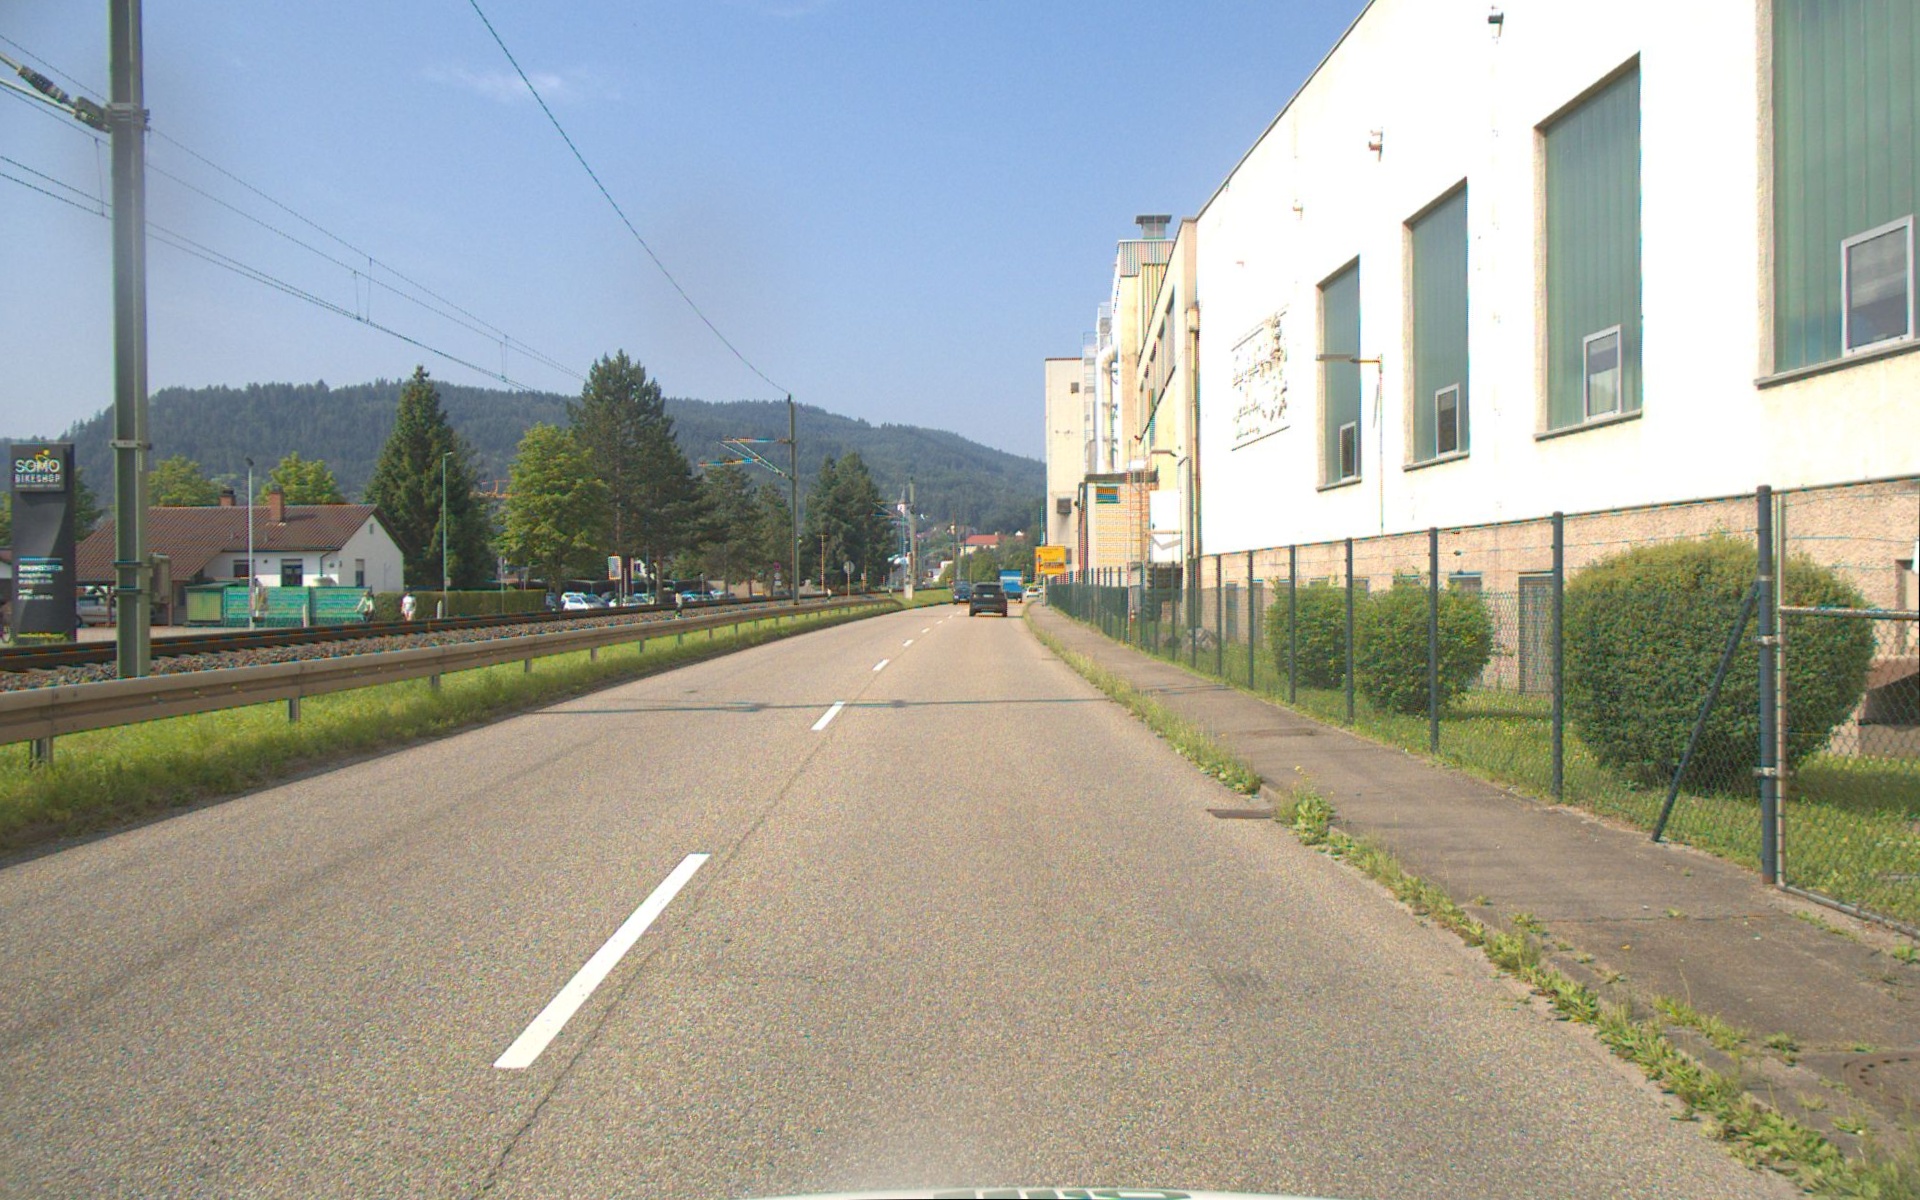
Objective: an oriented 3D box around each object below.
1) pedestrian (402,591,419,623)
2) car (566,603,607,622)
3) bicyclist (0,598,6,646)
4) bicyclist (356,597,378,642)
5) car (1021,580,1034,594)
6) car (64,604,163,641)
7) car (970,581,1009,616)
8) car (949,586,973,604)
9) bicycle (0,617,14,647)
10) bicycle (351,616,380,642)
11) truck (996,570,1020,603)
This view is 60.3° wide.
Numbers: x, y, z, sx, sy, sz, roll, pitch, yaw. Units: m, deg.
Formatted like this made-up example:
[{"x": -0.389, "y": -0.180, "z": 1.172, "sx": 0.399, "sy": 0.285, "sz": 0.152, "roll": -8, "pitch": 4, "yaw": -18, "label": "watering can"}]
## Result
[{"x": -23.827, "y": 0.290, "z": 71.711, "sx": 0.562, "sy": 1.355, "sz": 0.673, "roll": -1, "pitch": 0, "yaw": -6, "label": "pedestrian"}, {"x": -30.592, "y": 1.033, "z": 135.337, "sx": 1.673, "sy": 1.469, "sz": 3.796, "roll": -1, "pitch": 0, "yaw": -40, "label": "car"}, {"x": -33.649, "y": 0.773, "z": 57.101, "sx": 0.730, "sy": 1.648, "sz": 1.146, "roll": -1, "pitch": 0, "yaw": 3, "label": "bicyclist"}, {"x": -22.515, "y": 0.731, "z": 62.794, "sx": 0.522, "sy": 1.675, "sz": 0.831, "roll": -1, "pitch": 0, "yaw": -2, "label": "bicyclist"}, {"x": 9.197, "y": -1.744, "z": 223.978, "sx": 1.632, "sy": 1.854, "sz": 3.753, "roll": 0, "pitch": 0, "yaw": 4, "label": "car"}, {"x": -39.889, "y": 1.051, "z": 77.966, "sx": 3.756, "sy": 1.680, "sz": 1.713, "roll": -1, "pitch": 0, "yaw": 1, "label": "car"}, {"x": 1.443, "y": -0.097, "z": 81.635, "sx": 1.880, "sy": 1.668, "sz": 4.000, "roll": 0, "pitch": 0, "yaw": 0, "label": "car"}, {"x": 0.103, "y": -0.426, "z": 137.976, "sx": 1.727, "sy": 1.427, "sz": 4.122, "roll": 0, "pitch": 0, "yaw": 4, "label": "car"}, {"x": -33.644, "y": 1.129, "z": 57.148, "sx": 0.739, "sy": 1.034, "sz": 1.963, "roll": -1, "pitch": 0, "yaw": 3, "label": "bicycle"}, {"x": -22.500, "y": 1.097, "z": 62.576, "sx": 0.534, "sy": 0.939, "sz": 1.709, "roll": -1, "pitch": 0, "yaw": -2, "label": "bicycle"}, {"x": 4.556, "y": -1.281, "z": 157.791, "sx": 2.265, "sy": 3.022, "sz": 5.967, "roll": 0, "pitch": 1, "yaw": 1, "label": "truck"}]
